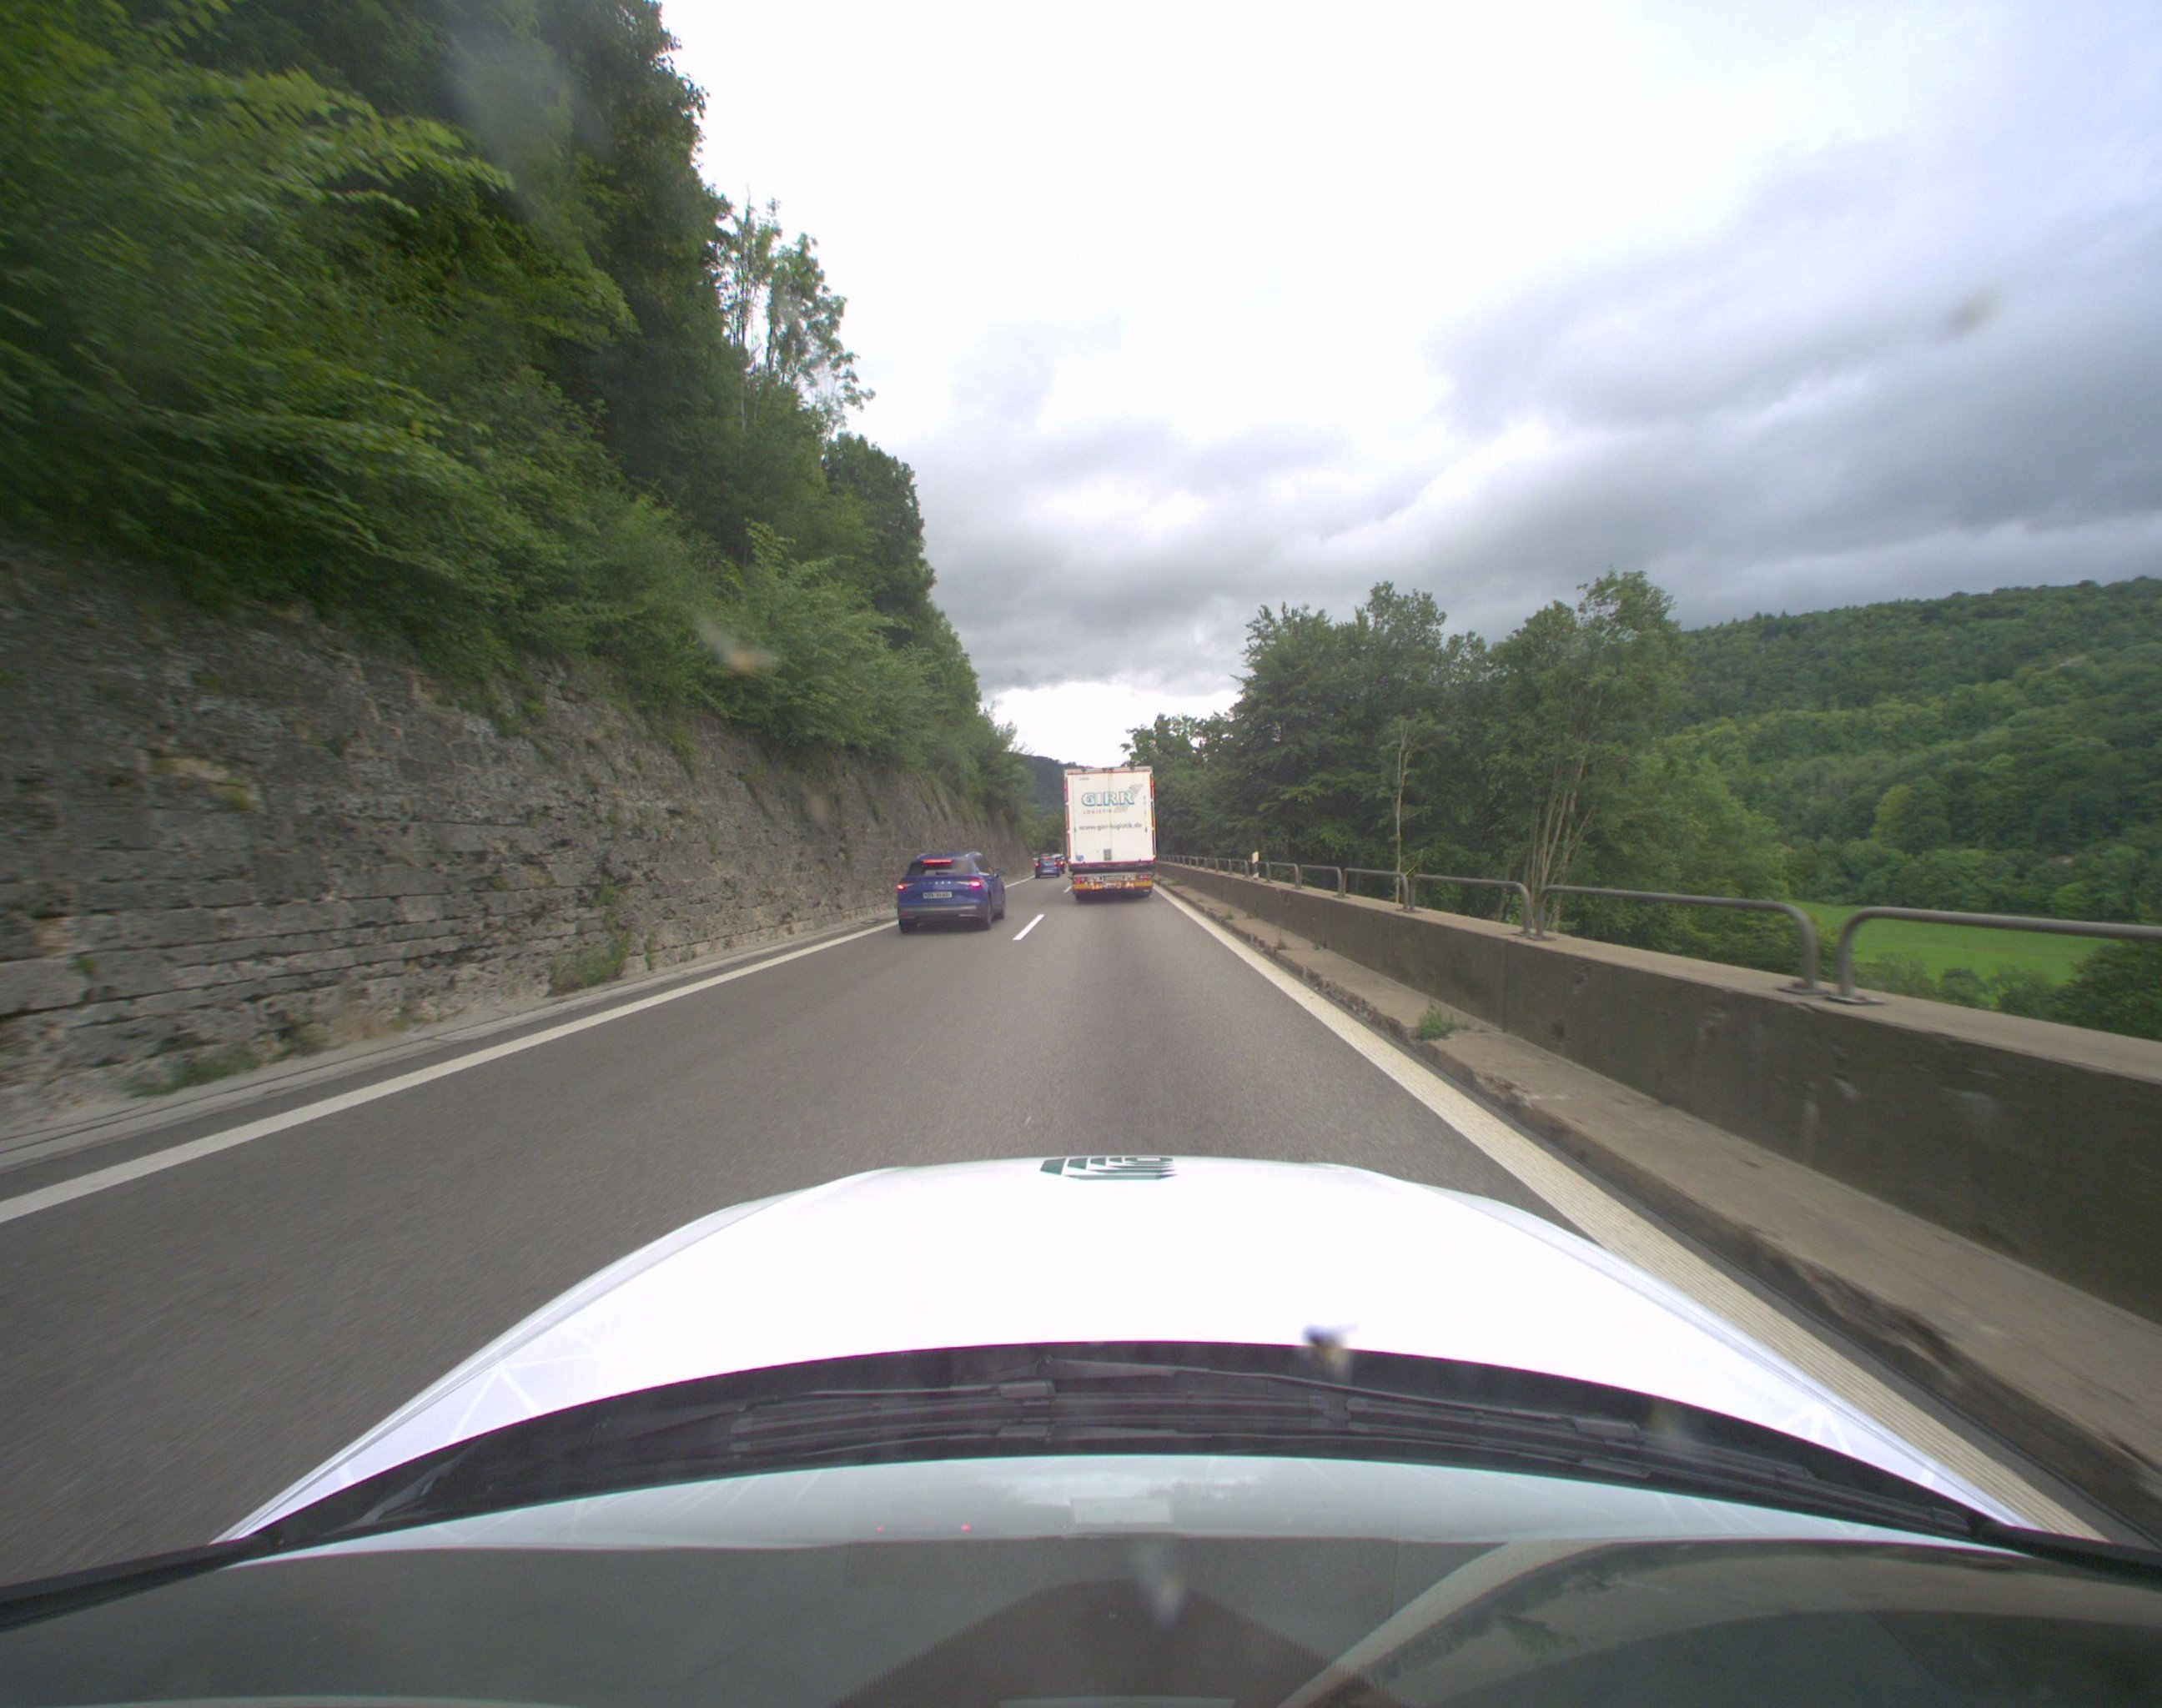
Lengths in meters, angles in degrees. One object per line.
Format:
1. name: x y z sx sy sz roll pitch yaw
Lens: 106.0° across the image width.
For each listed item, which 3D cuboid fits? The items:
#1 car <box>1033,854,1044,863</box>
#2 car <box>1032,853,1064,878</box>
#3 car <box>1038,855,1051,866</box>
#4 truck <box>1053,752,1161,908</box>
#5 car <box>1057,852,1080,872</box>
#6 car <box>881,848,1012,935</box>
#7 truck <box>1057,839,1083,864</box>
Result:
1. car: -8.400 0.939 159.557 1.744 1.587 3.989 3 -1 -8
2. car: -2.287 0.808 56.840 1.987 1.596 4.352 -3 -1 0
3. car: -5.802 0.979 128.529 1.893 1.550 4.242 -2 0 -5
4. truck: 0.864 -0.696 30.858 3.074 4.464 15.157 0 0 1
5. car: -0.974 0.664 66.573 1.739 1.587 4.000 0 0 1
6. car: -2.797 0.719 18.121 1.987 1.632 5.008 -1 0 1
7. truck: -1.833 -0.400 130.446 2.632 3.857 12.327 0 0 -7
